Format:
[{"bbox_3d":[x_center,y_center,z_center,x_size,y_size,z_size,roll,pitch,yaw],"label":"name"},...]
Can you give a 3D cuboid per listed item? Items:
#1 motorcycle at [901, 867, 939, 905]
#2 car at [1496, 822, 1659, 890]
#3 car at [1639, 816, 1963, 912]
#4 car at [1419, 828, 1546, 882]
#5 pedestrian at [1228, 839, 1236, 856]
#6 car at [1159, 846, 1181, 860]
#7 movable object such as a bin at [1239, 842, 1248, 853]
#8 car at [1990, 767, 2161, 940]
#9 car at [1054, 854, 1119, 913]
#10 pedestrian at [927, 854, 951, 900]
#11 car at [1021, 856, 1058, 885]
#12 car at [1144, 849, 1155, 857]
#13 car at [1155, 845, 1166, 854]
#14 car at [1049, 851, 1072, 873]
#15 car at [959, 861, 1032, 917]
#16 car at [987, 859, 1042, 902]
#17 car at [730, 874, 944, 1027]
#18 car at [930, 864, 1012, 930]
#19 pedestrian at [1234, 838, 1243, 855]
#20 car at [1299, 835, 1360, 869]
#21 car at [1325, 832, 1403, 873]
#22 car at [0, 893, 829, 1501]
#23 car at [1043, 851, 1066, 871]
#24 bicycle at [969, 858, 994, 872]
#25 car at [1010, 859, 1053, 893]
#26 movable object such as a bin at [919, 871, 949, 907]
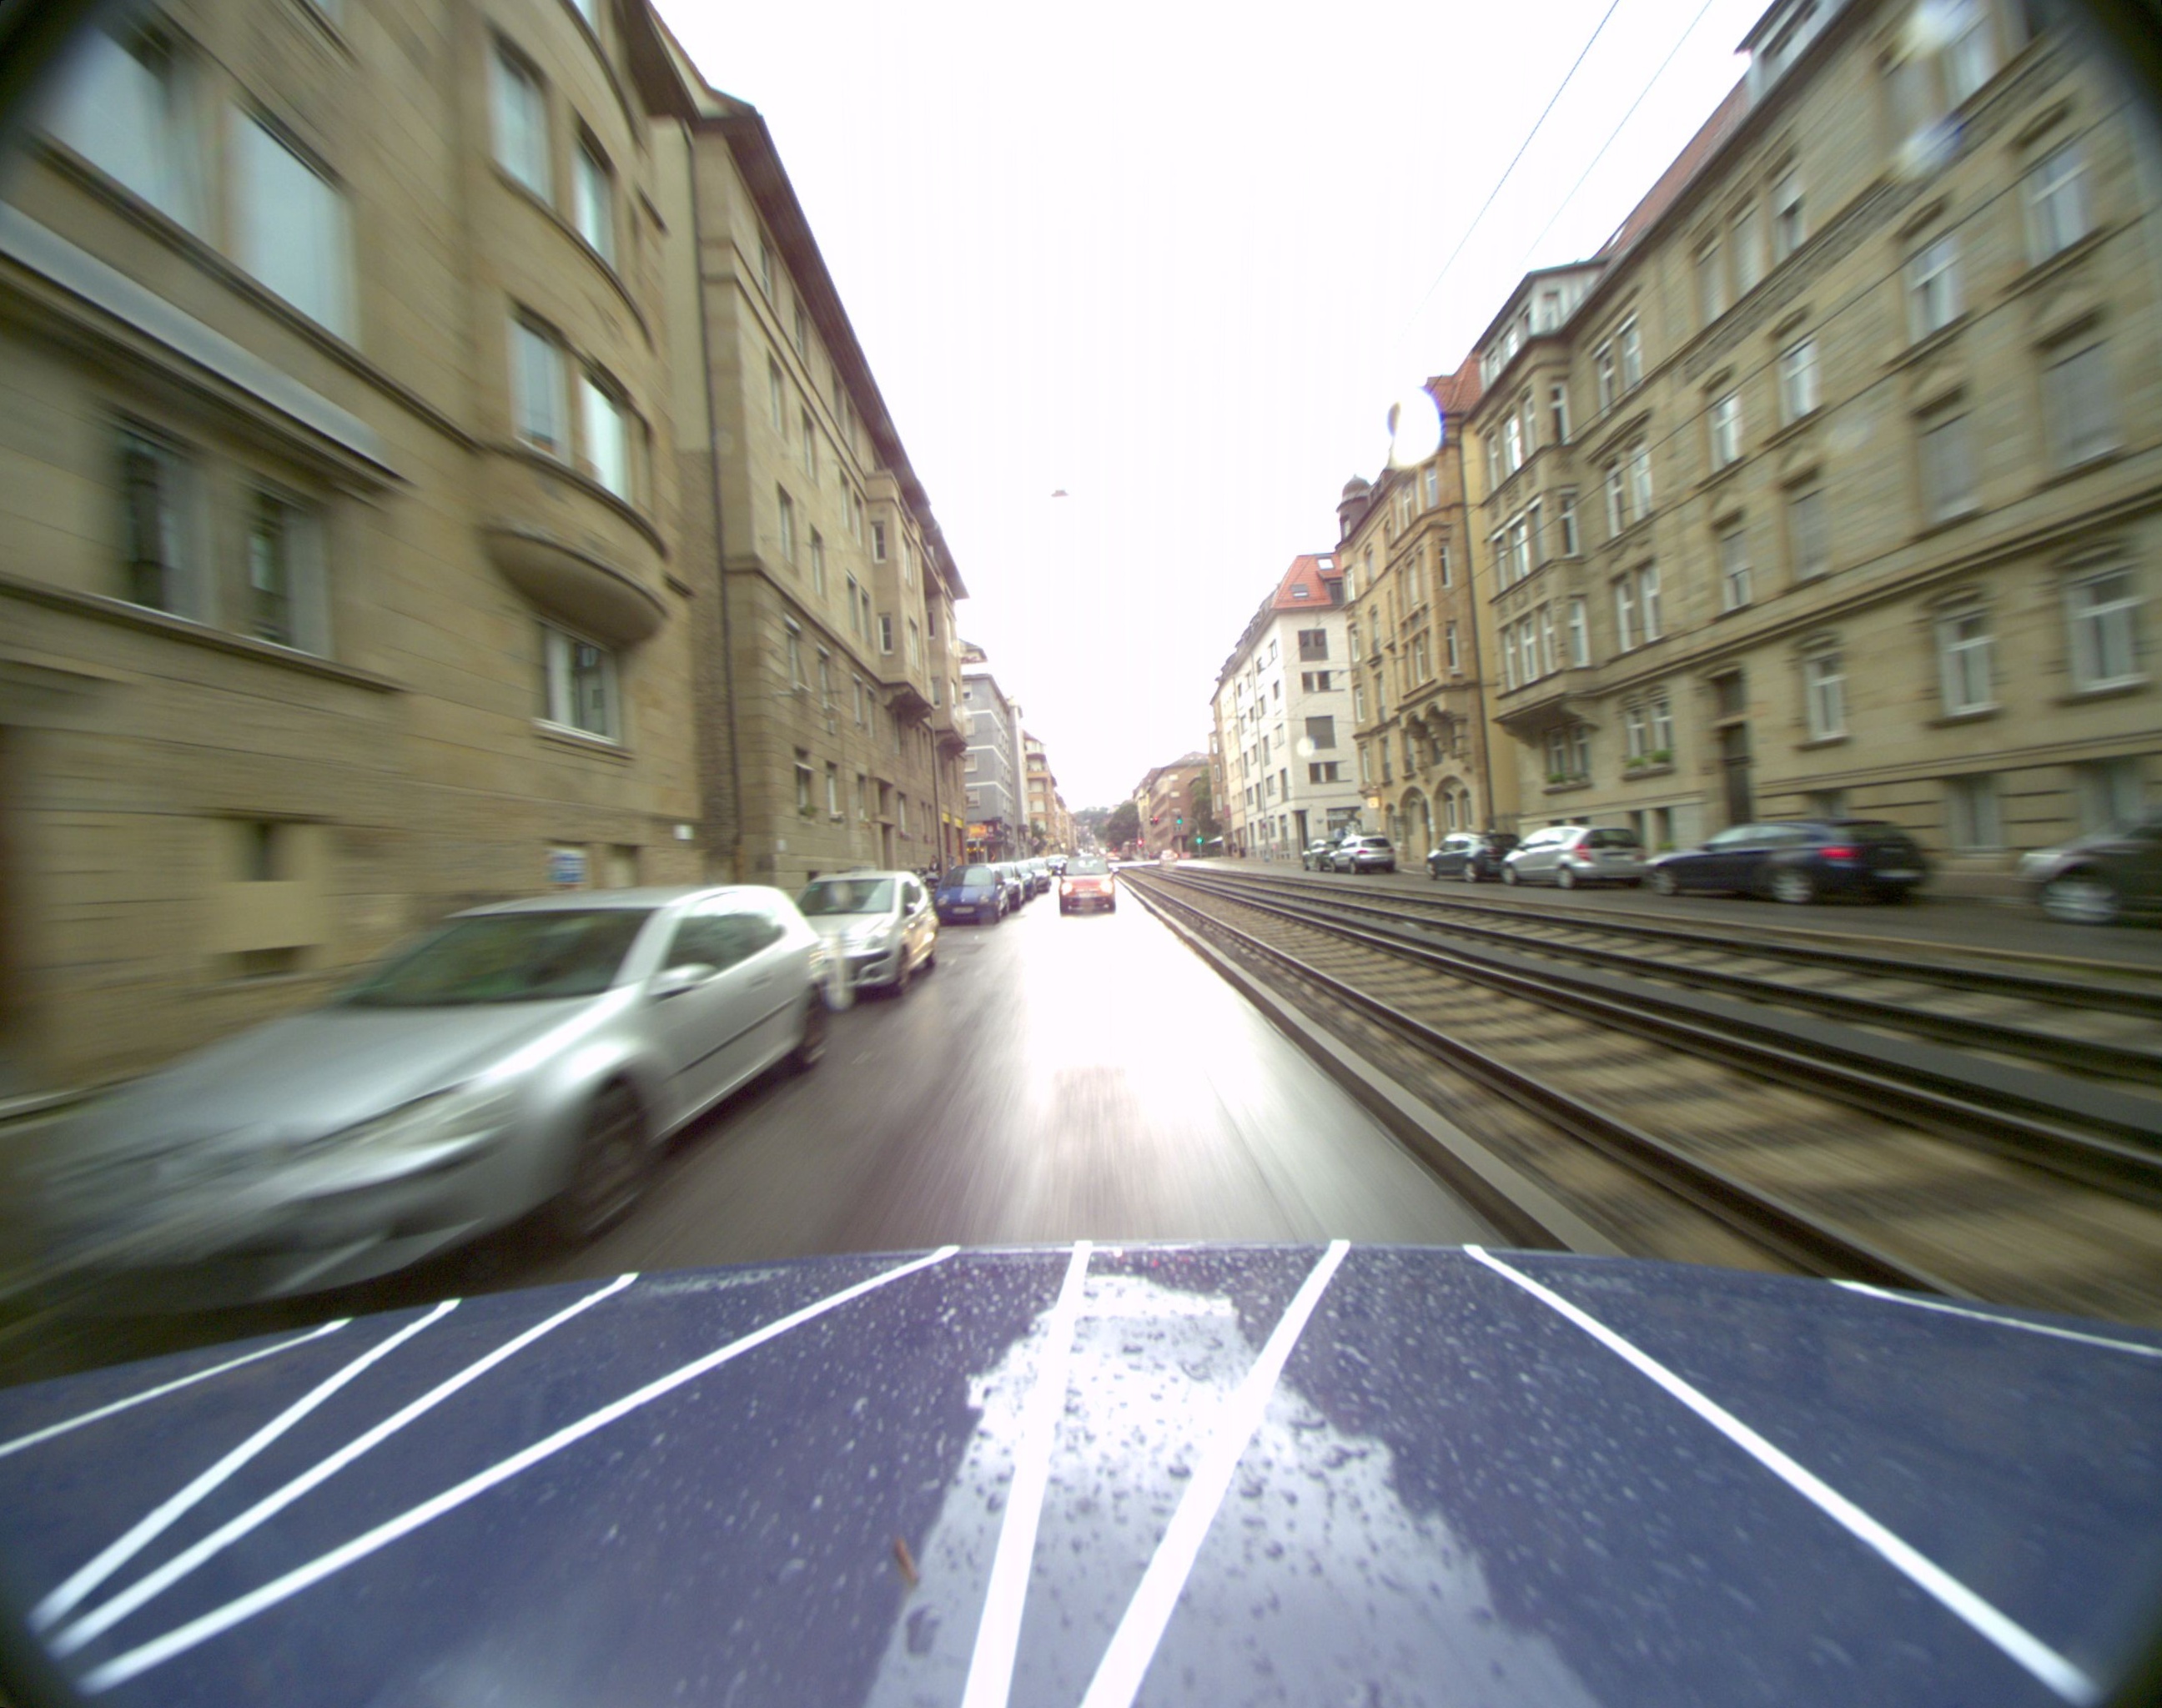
[{"bbox_3d":[-5.816,1.132,27.636,0.707,1.192,2.746,-3,0,1],"label":"motorcycle"},{"bbox_3d":[12.590,0.038,19.579,1.699,1.515,3.855,-2,0,1],"label":"car"},{"bbox_3d":[12.538,0.143,13.713,1.767,1.390,4.269,-2,0,0],"label":"car"},{"bbox_3d":[12.747,0.016,24.457,1.875,1.499,4.169,-3,0,1],"label":"car"},{"bbox_3d":[15.616,-0.705,78.572,0.603,1.708,0.746,-6,1,4],"label":"pedestrian"},{"bbox_3d":[10.351,-0.126,89.011,1.986,1.448,4.294,-3,0,0],"label":"car"},{"bbox_3d":[16.816,-0.644,78.721,0.631,1.074,0.563,-8,1,1],"label":"movable object such as a bin"},{"bbox_3d":[12.392,-0.034,7.201,1.805,1.836,4.818,-2,0,1],"label":"car"},{"bbox_3d":[0.177,0.804,22.632,1.683,1.531,4.018,-2,0,1],"label":"car"},{"bbox_3d":[-4.861,0.769,26.041,0.562,1.526,0.710,-3,1,1],"label":"pedestrian"},{"bbox_3d":[-2.189,0.843,41.173,1.675,1.435,3.790,-2,0,1],"label":"car"},{"bbox_3d":[14.123,-0.235,156.587,2.093,1.449,4.860,-2,0,3],"label":"car"},{"bbox_3d":[13.926,-0.764,133.658,1.708,1.379,3.781,-3,0,3],"label":"car"},{"bbox_3d":[-1.794,0.683,66.567,1.797,1.750,4.566,-3,0,0],"label":"car"},{"bbox_3d":[-2.618,1.040,24.107,1.792,1.454,4.083,-3,0,0],"label":"car"},{"bbox_3d":[-2.472,0.973,29.084,1.711,1.390,4.018,-3,0,0],"label":"car"},{"bbox_3d":[-2.896,1.069,9.845,1.594,1.426,3.683,-3,0,-1],"label":"car"},{"bbox_3d":[-2.718,1.019,19.455,1.548,1.407,3.446,-3,0,0],"label":"car"},{"bbox_3d":[16.255,-0.783,78.523,0.603,1.708,0.658,-6,1,4],"label":"pedestrian"},{"bbox_3d":[12.870,-0.107,39.671,1.863,1.592,4.430,-3,0,3],"label":"car"},{"bbox_3d":[12.856,-0.082,34.804,1.863,1.643,4.315,-3,0,0],"label":"car"},{"bbox_3d":[-2.874,1.070,4.081,1.672,1.426,3.955,-3,0,0],"label":"car"},{"bbox_3d":[-2.163,0.543,61.410,1.696,1.474,3.928,-2,0,-4],"label":"car"},{"bbox_3d":[-7.382,0.830,56.537,1.753,0.967,0.533,-4,1,2],"label":"bicycle"},{"bbox_3d":[-2.188,0.943,34.407,1.759,1.379,4.484,-2,0,-2],"label":"car"},{"bbox_3d":[-4.844,1.147,25.085,0.667,1.097,1.124,-4,1,1],"label":"movable object such as a bin"}]
